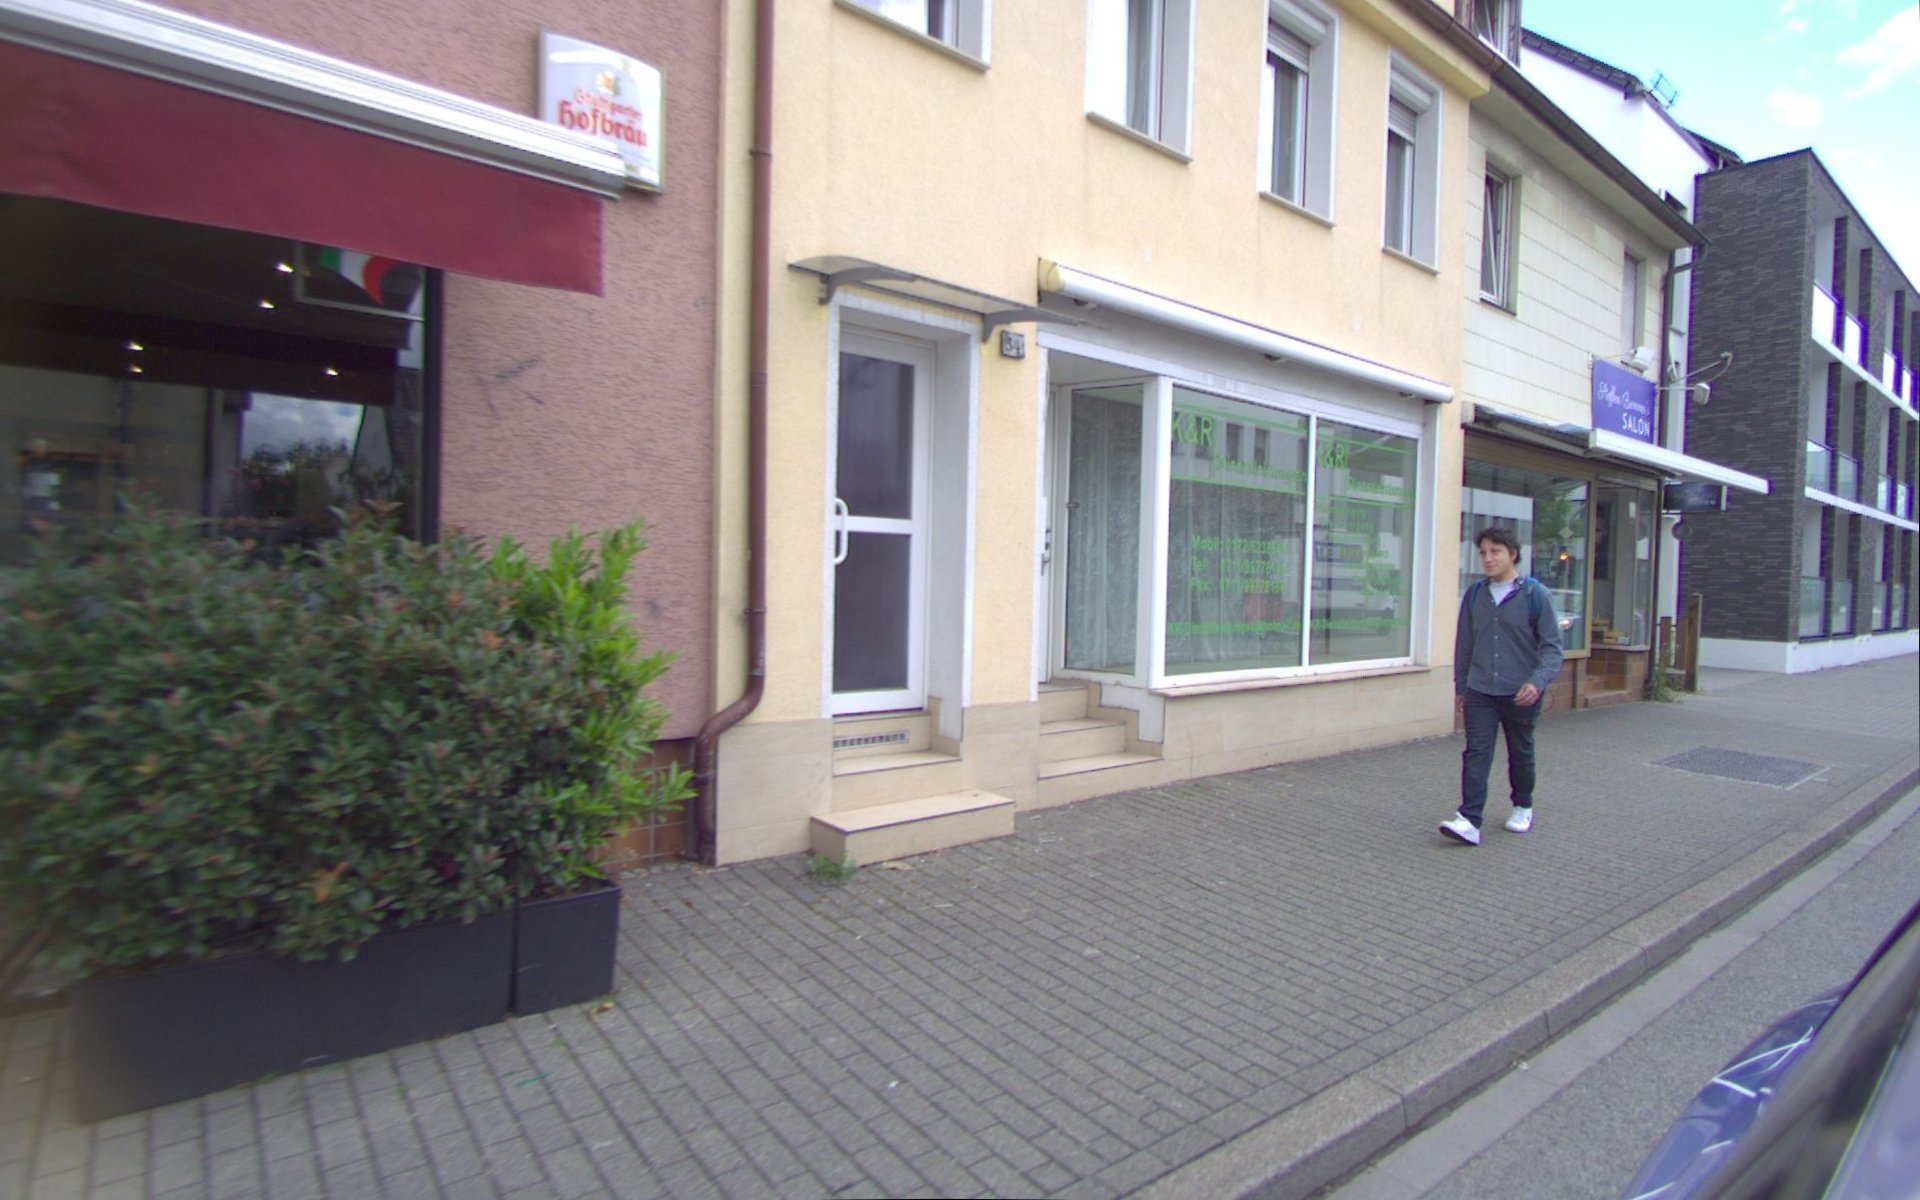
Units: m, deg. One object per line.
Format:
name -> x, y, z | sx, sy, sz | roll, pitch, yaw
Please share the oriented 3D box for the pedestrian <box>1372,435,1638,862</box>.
pedestrian -> 2.995, 0.213, 5.586 | 0.992, 2.099, 0.827 | 0, 4, -37
